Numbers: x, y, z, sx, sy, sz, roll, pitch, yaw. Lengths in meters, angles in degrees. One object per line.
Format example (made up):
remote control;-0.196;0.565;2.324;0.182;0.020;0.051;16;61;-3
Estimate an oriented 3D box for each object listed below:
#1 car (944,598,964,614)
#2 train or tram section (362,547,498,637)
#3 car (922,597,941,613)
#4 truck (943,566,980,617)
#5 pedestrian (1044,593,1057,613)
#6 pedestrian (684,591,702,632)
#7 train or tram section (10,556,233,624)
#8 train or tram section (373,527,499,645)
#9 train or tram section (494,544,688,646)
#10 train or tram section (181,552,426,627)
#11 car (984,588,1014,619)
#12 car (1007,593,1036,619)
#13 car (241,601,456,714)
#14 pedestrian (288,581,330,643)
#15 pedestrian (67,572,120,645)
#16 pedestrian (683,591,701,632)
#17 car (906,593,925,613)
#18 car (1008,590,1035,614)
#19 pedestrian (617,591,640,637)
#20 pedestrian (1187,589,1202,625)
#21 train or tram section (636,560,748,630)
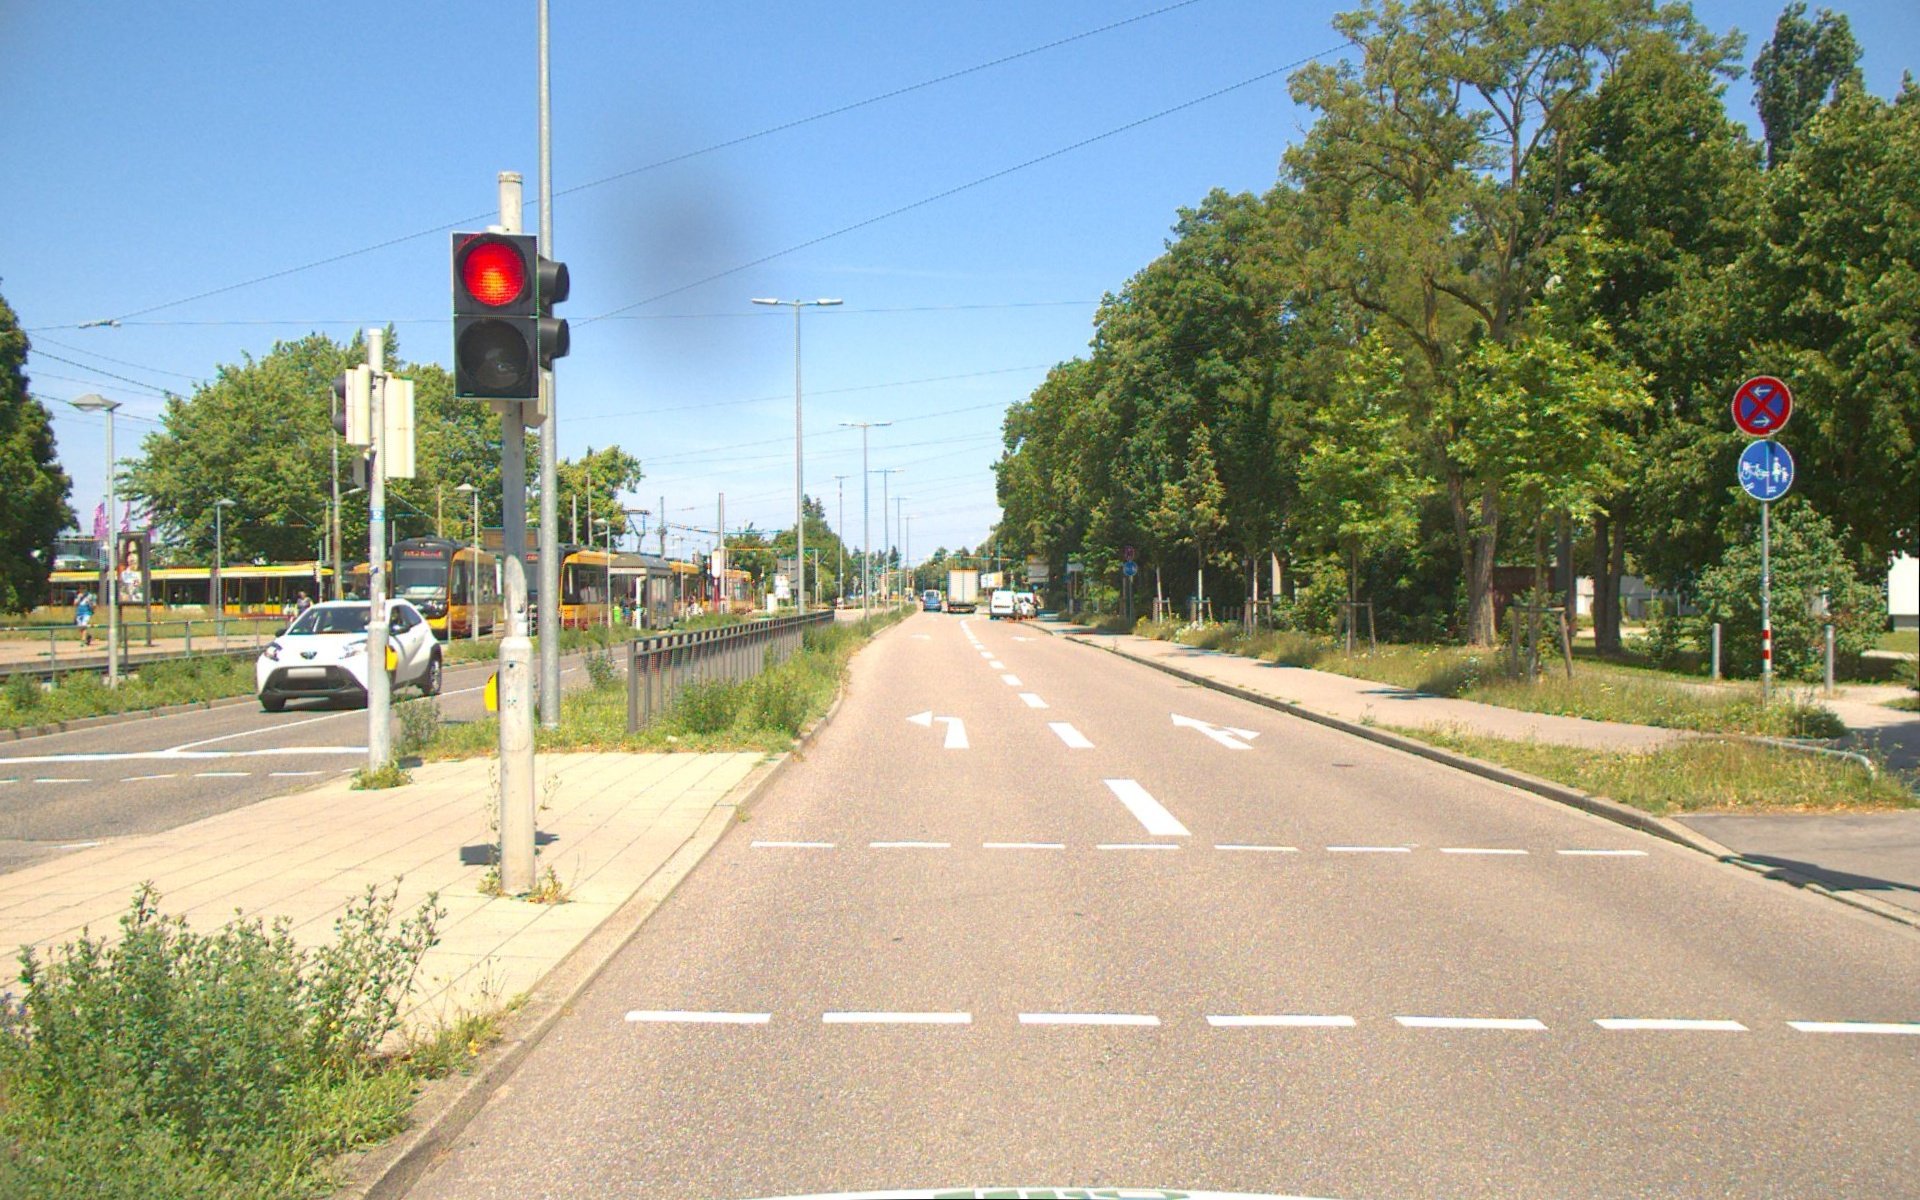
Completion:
car;-0.583;0.551;153.603;1.774;1.490;3.999;0;0;-1
train or tram section;-26.633;-0.392;82.193;3.179;4.000;18.325;0;0;-28
car;-2.678;0.510;157.839;1.774;1.490;3.999;0;0;-1
truck;0.078;-0.741;146.069;3.140;4.435;6.559;0;0;-1
pedestrian;9.014;0.296;164.430;1.161;2.049;1.213;0;0;-1
pedestrian;-13.463;0.583;83.443;0.798;2.049;0.938;0;0;-1
train or tram section;-52.957;-0.578;104.026;18.096;4.000;3.220;0;0;30
train or tram section;-20.396;-0.511;65.529;3.160;4.000;18.440;0;0;-13
train or tram section;-16.226;-0.245;76.711;2.898;3.815;30.025;0;0;-1
train or tram section;-37.715;-0.550;94.339;18.113;4.000;3.217;0;0;33
car;2.458;0.213;105.552;1.743;1.937;3.999;0;0;-1
car;4.187;0.390;112.506;1.743;1.698;3.999;0;0;-1
car;-8.938;0.784;24.502;1.807;1.521;3.790;0;0;-1
pedestrian;-21.522;0.389;54.688;0.961;2.049;1.021;0;0;-1
pedestrian;-24.556;0.235;46.904;0.961;2.049;1.021;0;0;-1
pedestrian;-13.740;0.584;84.733;0.798;2.049;0.938;0;0;-1
car;-4.689;0.319;175.092;1.953;2.049;3.999;0;0;-1
car;4.411;0.110;118.857;1.743;1.698;3.999;0;0;-1
pedestrian;-13.848;0.586;69.085;0.769;1.901;0.817;0;0;-1
pedestrian;9.517;0.279;67.159;0.591;1.463;0.556;0;0;6
train or tram section;-16.945;-0.347;108.101;2.872;3.856;33.076;0;0;-2
